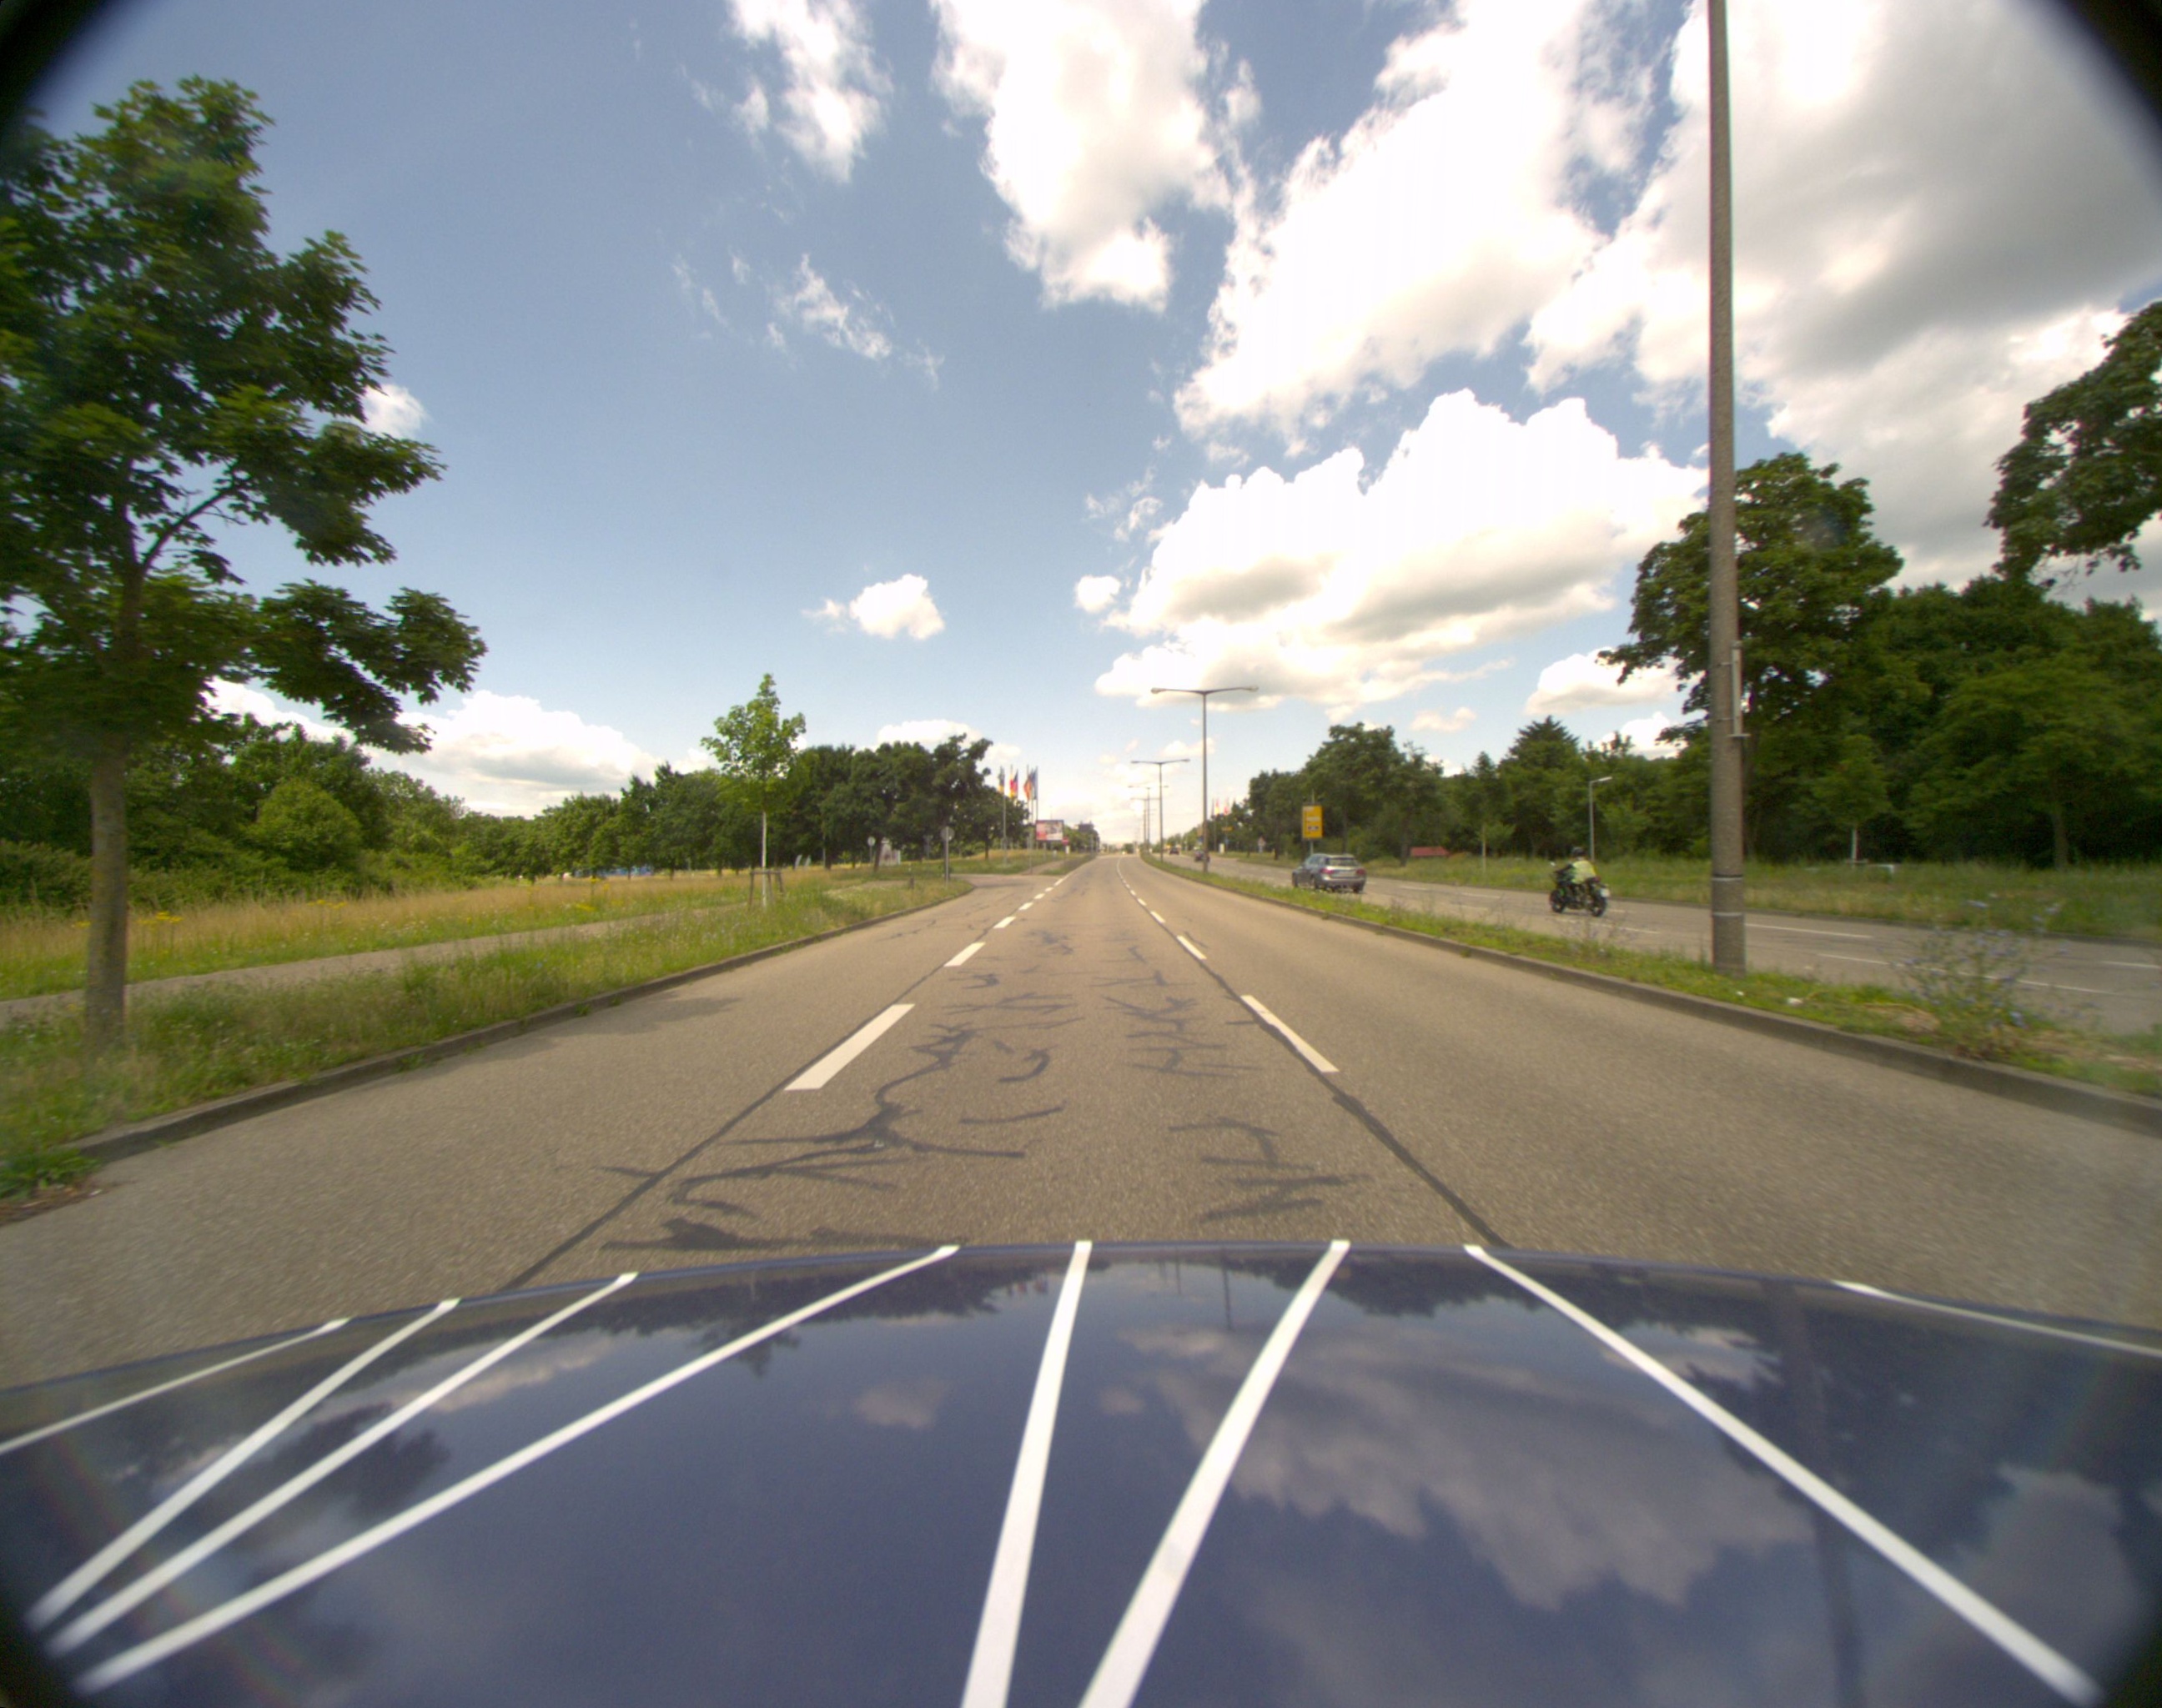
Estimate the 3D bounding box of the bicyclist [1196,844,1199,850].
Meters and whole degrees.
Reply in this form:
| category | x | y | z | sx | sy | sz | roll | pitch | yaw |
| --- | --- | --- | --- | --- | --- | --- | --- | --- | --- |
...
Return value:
| category | x | y | z | sx | sy | sz | roll | pitch | yaw |
| --- | --- | --- | --- | --- | --- | --- | --- | --- | --- |
| bicyclist | 25.068 | -1.545 | 163.221 | 0.522 | 1.265 | 1.107 | -2 | 0 | 1 |

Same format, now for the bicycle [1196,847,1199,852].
| category | x | y | z | sx | sy | sz | roll | pitch | yaw |
| --- | --- | --- | --- | --- | --- | --- | --- | --- | --- |
| bicycle | 25.098 | -1.036 | 163.291 | 0.433 | 1.062 | 1.908 | -2 | 0 | 1 |

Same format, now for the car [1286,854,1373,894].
| category | x | y | z | sx | sy | sz | roll | pitch | yaw |
| --- | --- | --- | --- | --- | --- | --- | --- | --- | --- |
| car | 9.432 | 0.713 | 29.263 | 1.815 | 1.390 | 4.734 | -1 | 0 | 0 |

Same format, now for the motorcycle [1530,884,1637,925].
| category | x | y | z | sx | sy | sz | roll | pitch | yaw |
| --- | --- | --- | --- | --- | --- | --- | --- | --- | --- |
| motorcycle | 11.715 | 1.147 | 17.854 | 0.753 | 0.767 | 2.672 | -2 | 0 | 1 |

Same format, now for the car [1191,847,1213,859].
| category | x | y | z | sx | sy | sz | roll | pitch | yaw |
| --- | --- | --- | --- | --- | --- | --- | --- | --- | --- |
| car | 14.989 | -0.080 | 94.597 | 1.706 | 1.419 | 3.671 | -1 | 1 | -8 |

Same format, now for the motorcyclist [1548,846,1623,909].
| category | x | y | z | sx | sy | sz | roll | pitch | yaw |
| --- | --- | --- | --- | --- | --- | --- | --- | --- | --- |
| motorcyclist | 11.819 | 0.532 | 17.856 | 0.829 | 1.405 | 1.328 | -2 | 0 | 1 |

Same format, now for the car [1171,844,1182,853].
| category | x | y | z | sx | sy | sz | roll | pitch | yaw |
| --- | --- | --- | --- | --- | --- | --- | --- | --- | --- |
| car | 20.230 | -1.232 | 160.791 | 1.881 | 1.780 | 4.728 | 1 | 1 | 1 |
